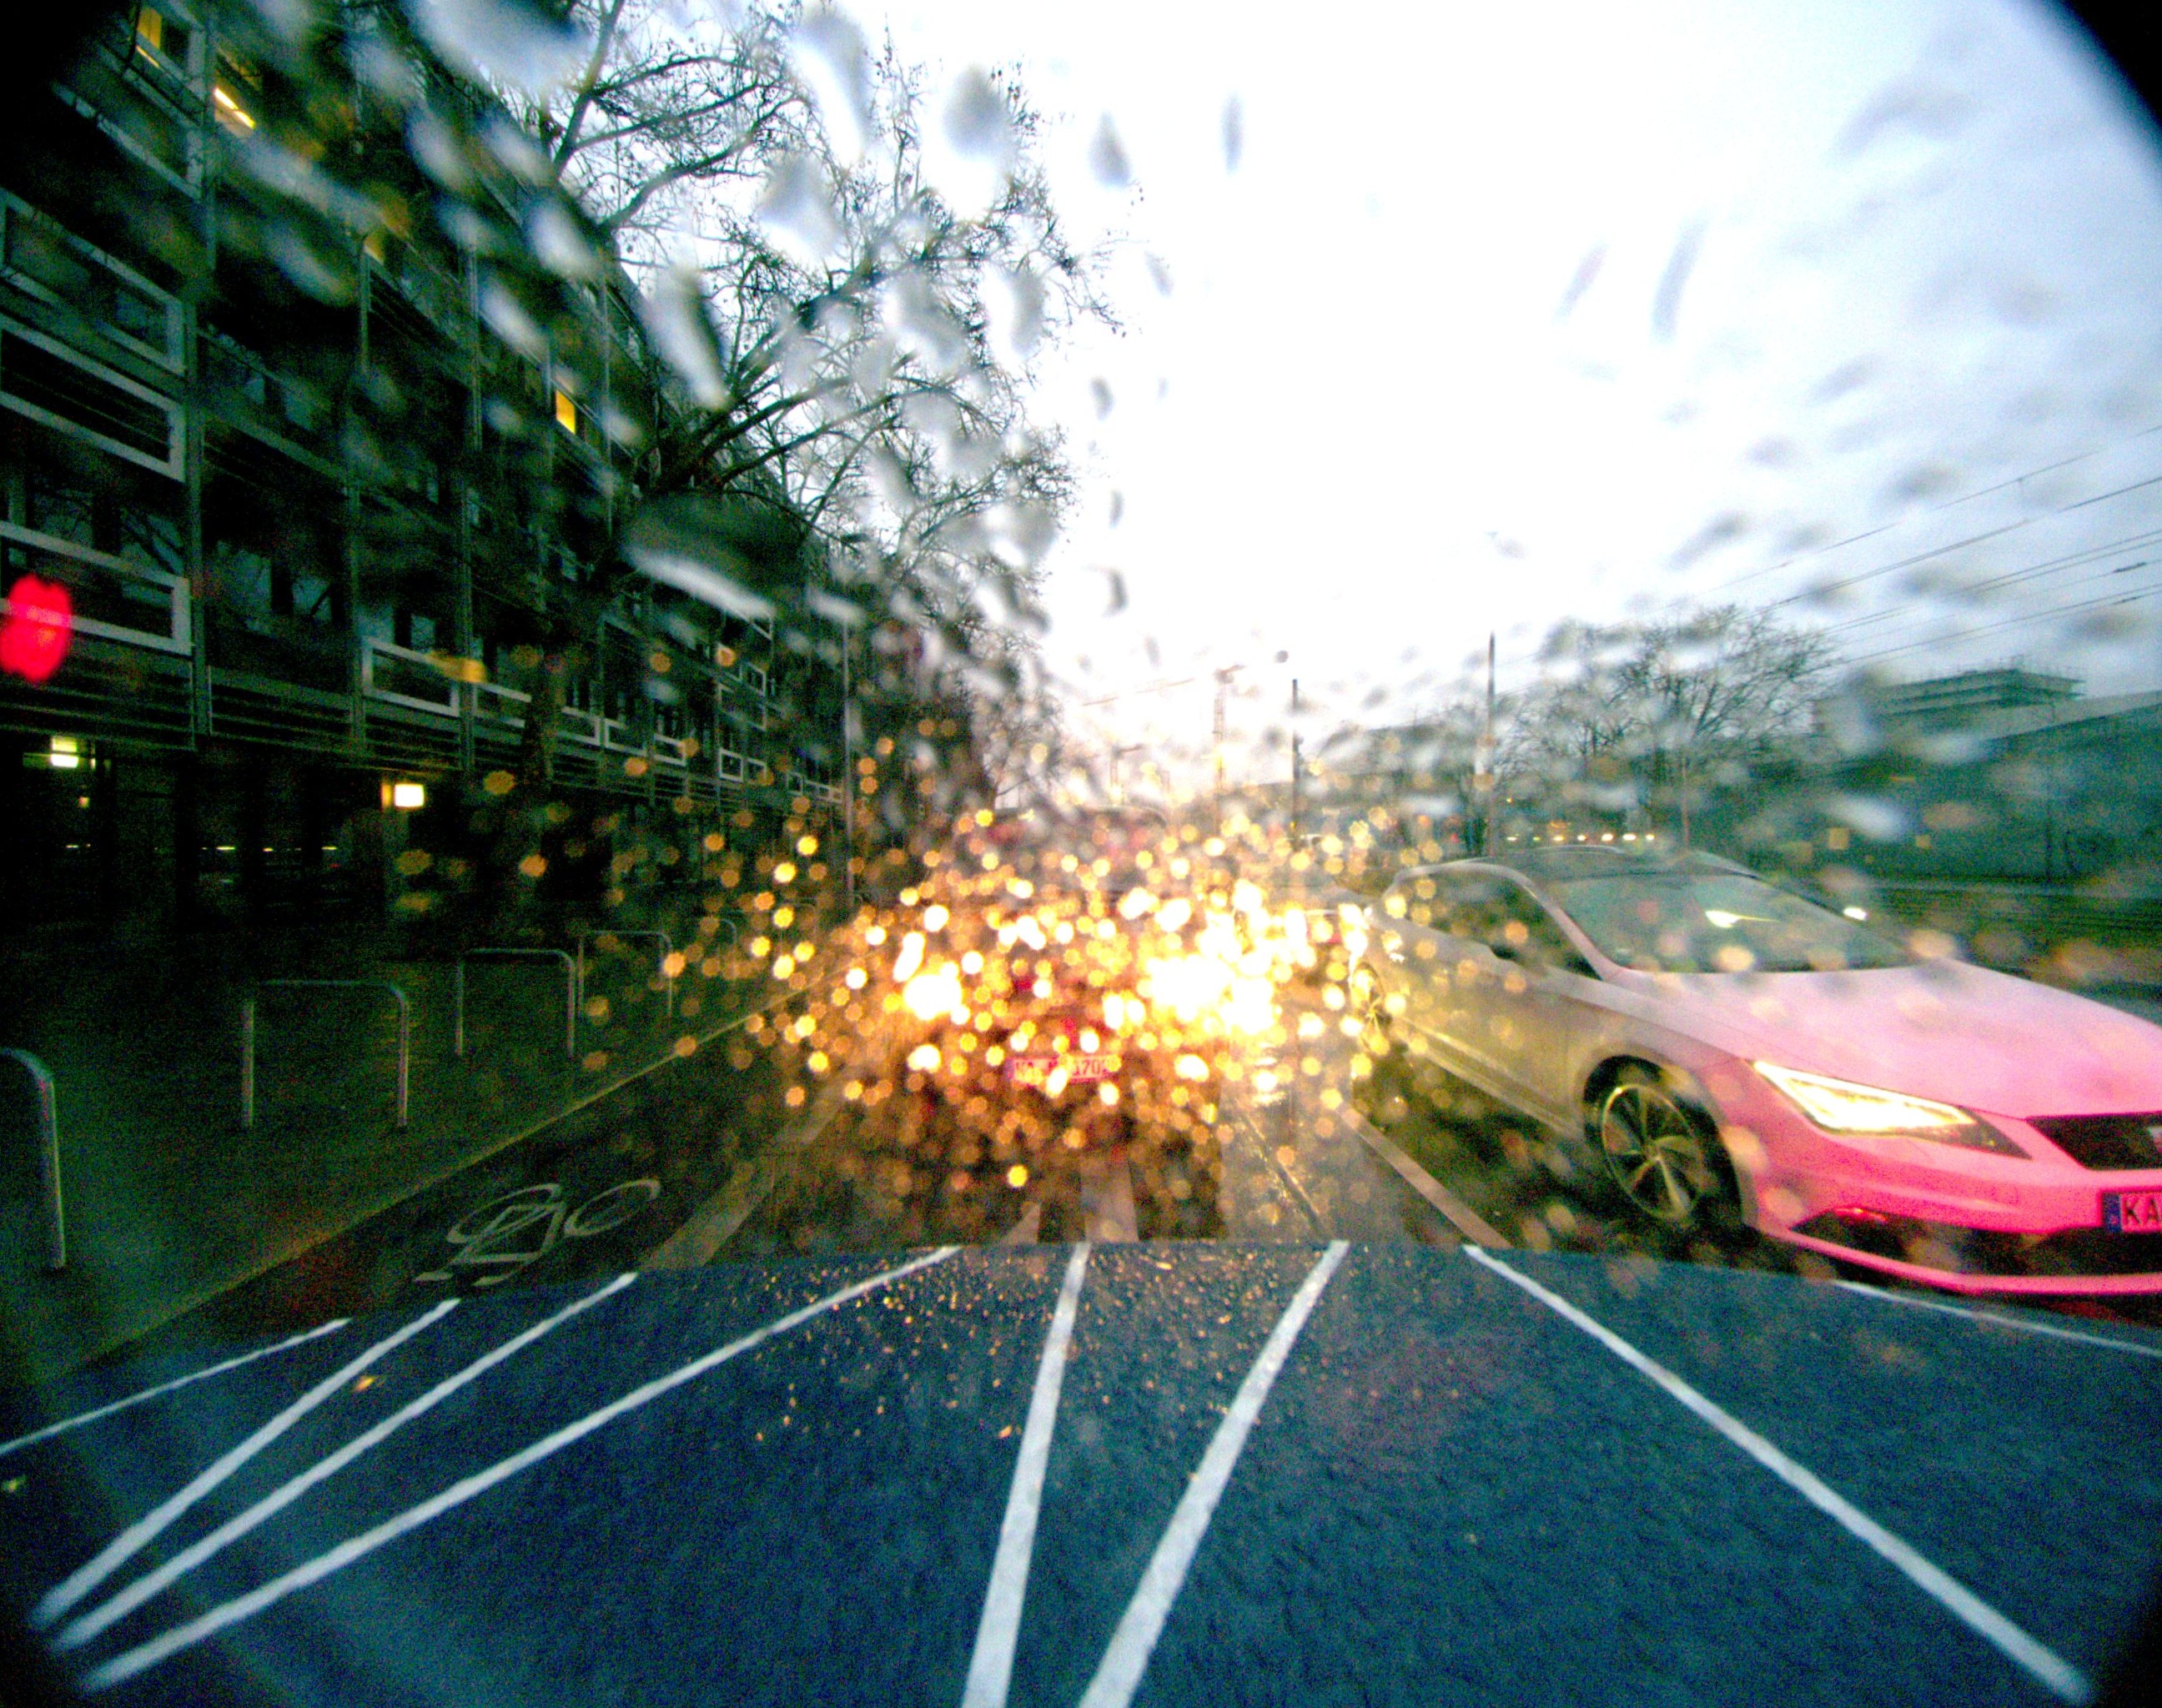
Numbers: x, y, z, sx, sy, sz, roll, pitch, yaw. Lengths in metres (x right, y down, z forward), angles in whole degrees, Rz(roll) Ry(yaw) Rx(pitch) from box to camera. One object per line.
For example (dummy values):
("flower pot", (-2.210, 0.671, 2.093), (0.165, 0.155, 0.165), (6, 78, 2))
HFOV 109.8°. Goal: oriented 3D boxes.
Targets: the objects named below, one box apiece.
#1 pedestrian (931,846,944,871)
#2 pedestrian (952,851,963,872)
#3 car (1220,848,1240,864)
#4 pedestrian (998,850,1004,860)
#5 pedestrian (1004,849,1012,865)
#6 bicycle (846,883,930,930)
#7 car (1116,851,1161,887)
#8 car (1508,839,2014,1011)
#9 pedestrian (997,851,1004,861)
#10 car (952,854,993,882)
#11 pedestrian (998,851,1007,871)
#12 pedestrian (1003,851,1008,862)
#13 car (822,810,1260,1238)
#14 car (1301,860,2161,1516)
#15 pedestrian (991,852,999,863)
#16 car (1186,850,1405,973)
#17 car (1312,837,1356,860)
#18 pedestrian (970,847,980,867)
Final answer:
("pedestrian", (-12.723, 0.410, 67.388), (1.062, 2.182, 1.110), (-2, 1, -11))
("pedestrian", (-10.333, 0.607, 63.703), (0.766, 1.740, 0.928), (0, 1, -4))
("car", (20.082, 0.250, 102.576), (1.998, 2.002, 3.999), (-2, 1, 1))
("pedestrian", (-11.153, 0.191, 105.758), (0.719, 1.330, 0.791), (-2, 1, 1))
("pedestrian", (-8.165, 0.308, 85.127), (0.766, 1.740, 0.928), (0, 1, -4))
("bicycle", (-4.466, 1.212, 17.636), (1.704, 0.987, 0.879), (1, 1, 0))
("car", (2.752, 0.698, 37.198), (1.907, 1.565, 3.999), (-2, 1, 1))
("car", (7.396, 0.600, 9.126), (1.853, 1.499, 4.662), (-1, 1, -1))
("pedestrian", (-10.962, 0.208, 103.602), (0.719, 1.330, 0.791), (-2, 1, 1))
("car", (-6.145, 0.760, 43.403), (1.713, 1.455, 3.999), (-2, 1, 1))
("pedestrian", (-7.068, 0.604, 68.324), (0.766, 1.740, 0.928), (0, 1, -4))
("pedestrian", (-11.972, 0.323, 120.877), (0.766, 1.740, 0.928), (0, 1, -4))
("car", (-0.226, 0.735, 5.390), (1.878, 1.830, 3.999), (-2, 1, -2))
("car", (2.979, 0.835, 4.165), (1.949, 1.478, 4.504), (-2, 0, -4))
("pedestrian", (-9.991, 0.401, 88.362), (0.782, 1.330, 0.751), (-2, 1, 1))
("car", (2.952, 0.697, 11.599), (1.999, 1.478, 4.505), (-1, 0, -1))
("car", (22.122, -0.489, 66.583), (2.095, 1.884, 3.997), (-1, 1, -7))
("pedestrian", (-9.468, 0.247, 68.016), (0.766, 1.740, 0.928), (0, 1, -4))
